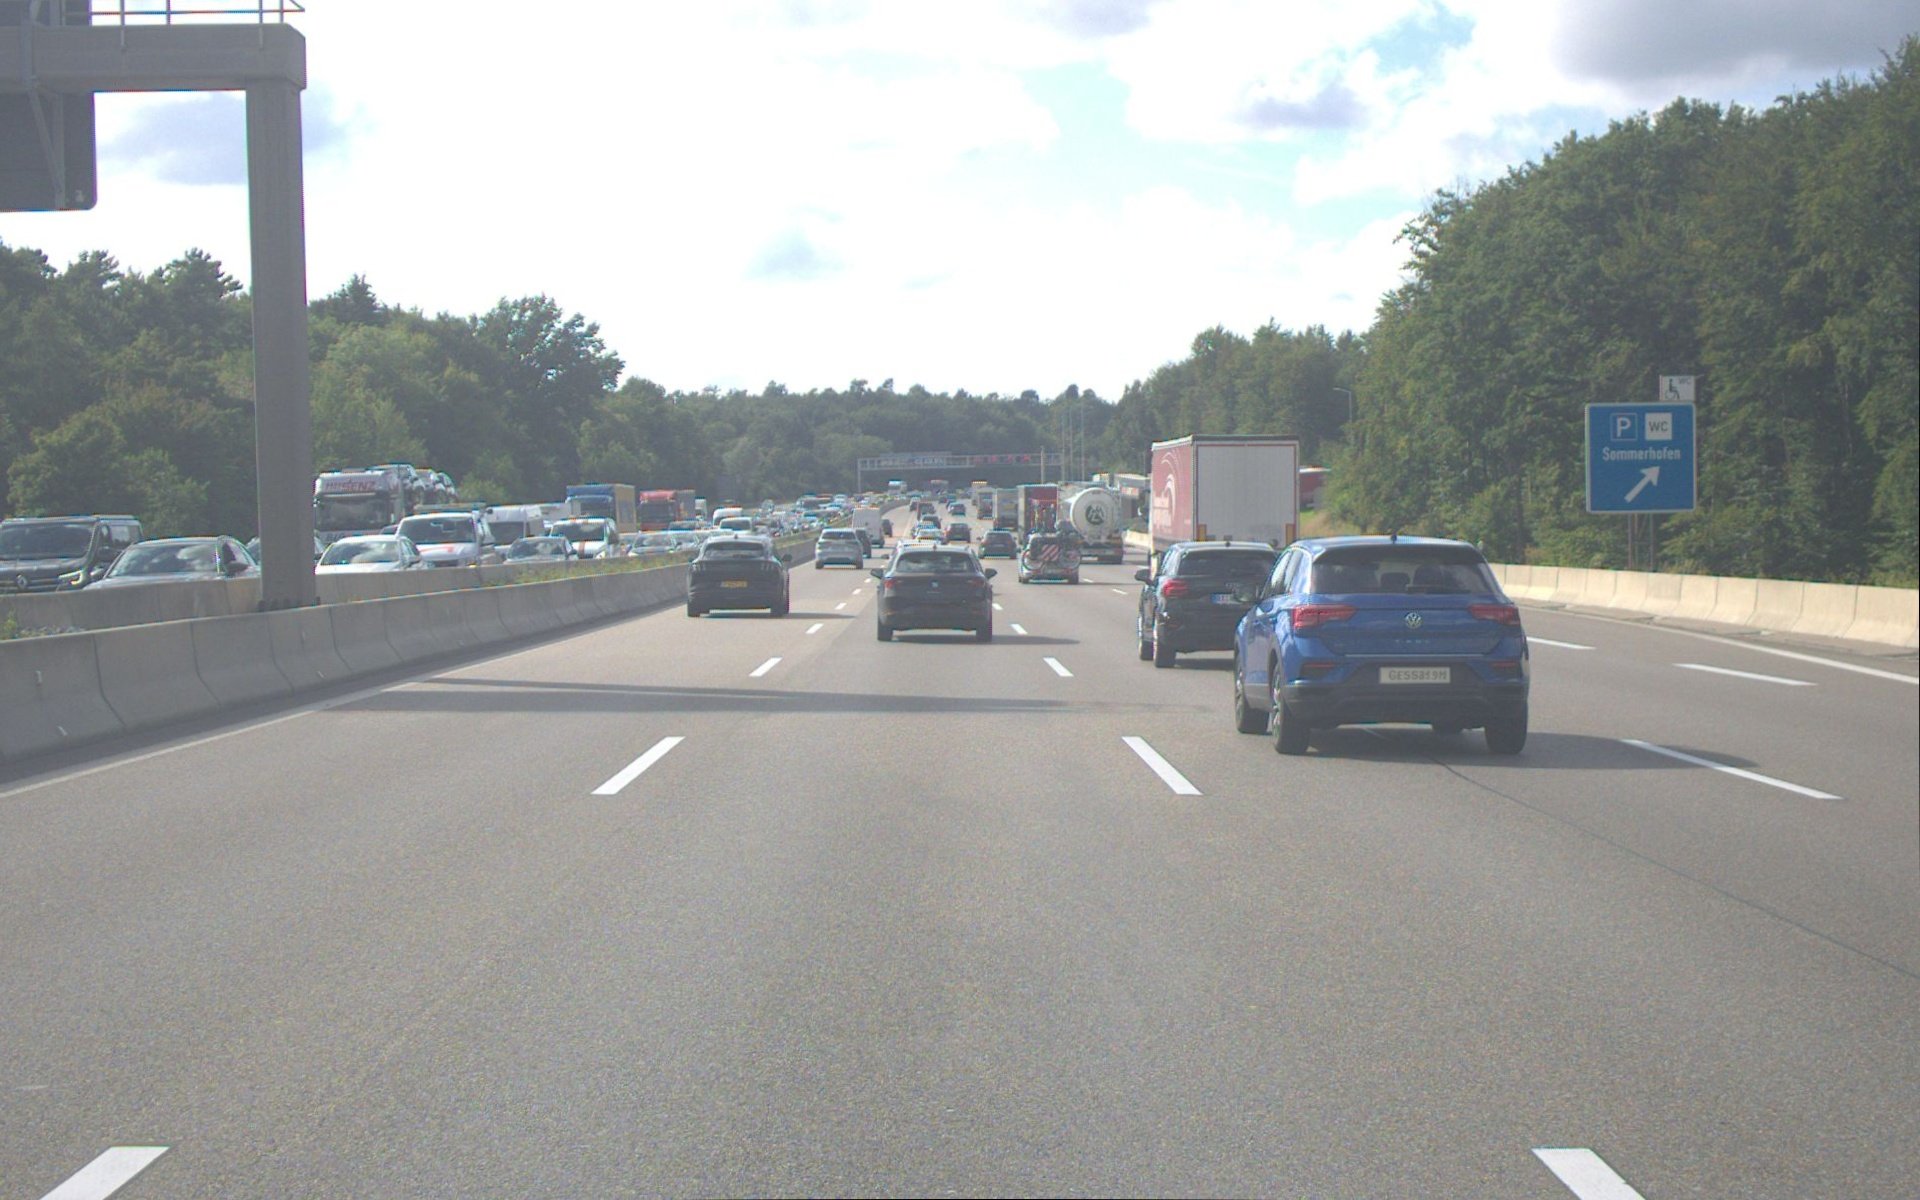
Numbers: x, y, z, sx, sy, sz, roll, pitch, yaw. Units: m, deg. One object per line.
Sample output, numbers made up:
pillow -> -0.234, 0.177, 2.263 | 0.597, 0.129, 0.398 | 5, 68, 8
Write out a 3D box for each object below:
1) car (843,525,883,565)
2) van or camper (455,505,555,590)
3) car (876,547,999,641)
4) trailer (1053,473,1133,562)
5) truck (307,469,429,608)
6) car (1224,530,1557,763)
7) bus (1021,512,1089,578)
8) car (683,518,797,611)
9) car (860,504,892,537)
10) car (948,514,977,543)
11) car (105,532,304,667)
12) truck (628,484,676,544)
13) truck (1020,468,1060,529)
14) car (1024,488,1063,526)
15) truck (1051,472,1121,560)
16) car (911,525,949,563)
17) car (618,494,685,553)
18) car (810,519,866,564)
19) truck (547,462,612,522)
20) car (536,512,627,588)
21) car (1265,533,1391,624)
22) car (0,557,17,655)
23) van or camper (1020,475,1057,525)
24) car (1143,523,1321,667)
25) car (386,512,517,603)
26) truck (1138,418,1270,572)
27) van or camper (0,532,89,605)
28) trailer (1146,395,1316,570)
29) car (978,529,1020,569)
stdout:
car -> -5.007, -2.808, 177.521 | 1.993, 2.007, 4.000 | 1, 0, -1
van or camper -> -14.972, -1.687, 113.573 | 2.391, 2.701, 6.631 | 1, 0, 0
car -> -0.385, -0.119, 52.708 | 1.734, 1.360, 4.001 | 1, 1, -2
trailer -> 6.128, -3.785, 160.306 | 3.036, 4.002, 12.246 | 0, 1, -1
truck -> -18.630, -1.955, 108.461 | 2.853, 4.219, 5.713 | 1, 1, 0
car -> 3.112, 0.287, 25.749 | 1.924, 1.536, 4.645 | 2, 1, 1
bus -> 2.947, -1.697, 107.739 | 1.993, 2.007, 4.000 | 1, 0, 0
car -> -4.314, -0.720, 67.853 | 1.993, 1.770, 4.000 | 0, 1, 0
car -> -5.310, -5.052, 217.604 | 1.993, 2.007, 4.000 | 1, 1, -1
car -> 0.190, -5.130, 245.829 | 1.993, 2.007, 4.000 | 1, 1, -1
car -> -10.586, -0.057, 48.503 | 1.767, 1.792, 4.939 | 1, 1, -1
truck -> -20.440, -5.749, 228.506 | 2.775, 3.924, 6.854 | 1, 2, -2
truck -> 5.056, -6.443, 219.243 | 2.358, 3.560, 11.266 | 1, 0, 1
car -> 4.701, -5.240, 193.820 | 1.993, 2.007, 4.000 | 1, 0, -1
truck -> 6.053, -4.015, 165.966 | 3.045, 4.146, 7.127 | 0, 1, -1
car -> -1.662, -3.055, 188.203 | 1.993, 2.007, 4.000 | -1, 0, -1
car -> -11.006, -2.729, 122.832 | 1.993, 2.007, 4.410 | 0, 0, 0
car -> -4.998, -2.404, 141.322 | 2.154, 1.770, 4.000 | 1, 1, 0
truck -> -18.418, -5.227, 166.712 | 2.328, 2.792, 7.950 | 2, 1, -1
car -> -10.783, -1.407, 98.300 | 1.993, 2.093, 5.278 | 1, 0, 0
car -> 6.333, -0.397, 59.523 | 1.715, 1.506, 4.302 | -1, 1, 0
car -> -9.940, 0.088, 30.537 | 1.667, 0.924, 5.463 | 1, 1, -1
van or camper -> 5.143, -6.571, 226.470 | 2.351, 3.133, 5.710 | 1, 0, 1
car -> 3.251, -0.091, 41.779 | 1.799, 1.638, 4.000 | 1, 1, 0
car -> -10.331, -0.873, 70.096 | 2.086, 1.795, 4.179 | 0, 1, -1
truck -> 6.666, -2.819, 94.666 | 3.080, 4.049, 6.070 | 1, 0, -1
van or camper -> -26.760, -0.904, 99.433 | 1.860, 2.026, 5.075 | 1, 0, 0
trailer -> 6.751, -2.819, 87.844 | 3.038, 4.021, 13.891 | 1, 0, -1
car -> 1.949, -2.582, 174.048 | 1.993, 2.007, 4.000 | 1, 1, -1
